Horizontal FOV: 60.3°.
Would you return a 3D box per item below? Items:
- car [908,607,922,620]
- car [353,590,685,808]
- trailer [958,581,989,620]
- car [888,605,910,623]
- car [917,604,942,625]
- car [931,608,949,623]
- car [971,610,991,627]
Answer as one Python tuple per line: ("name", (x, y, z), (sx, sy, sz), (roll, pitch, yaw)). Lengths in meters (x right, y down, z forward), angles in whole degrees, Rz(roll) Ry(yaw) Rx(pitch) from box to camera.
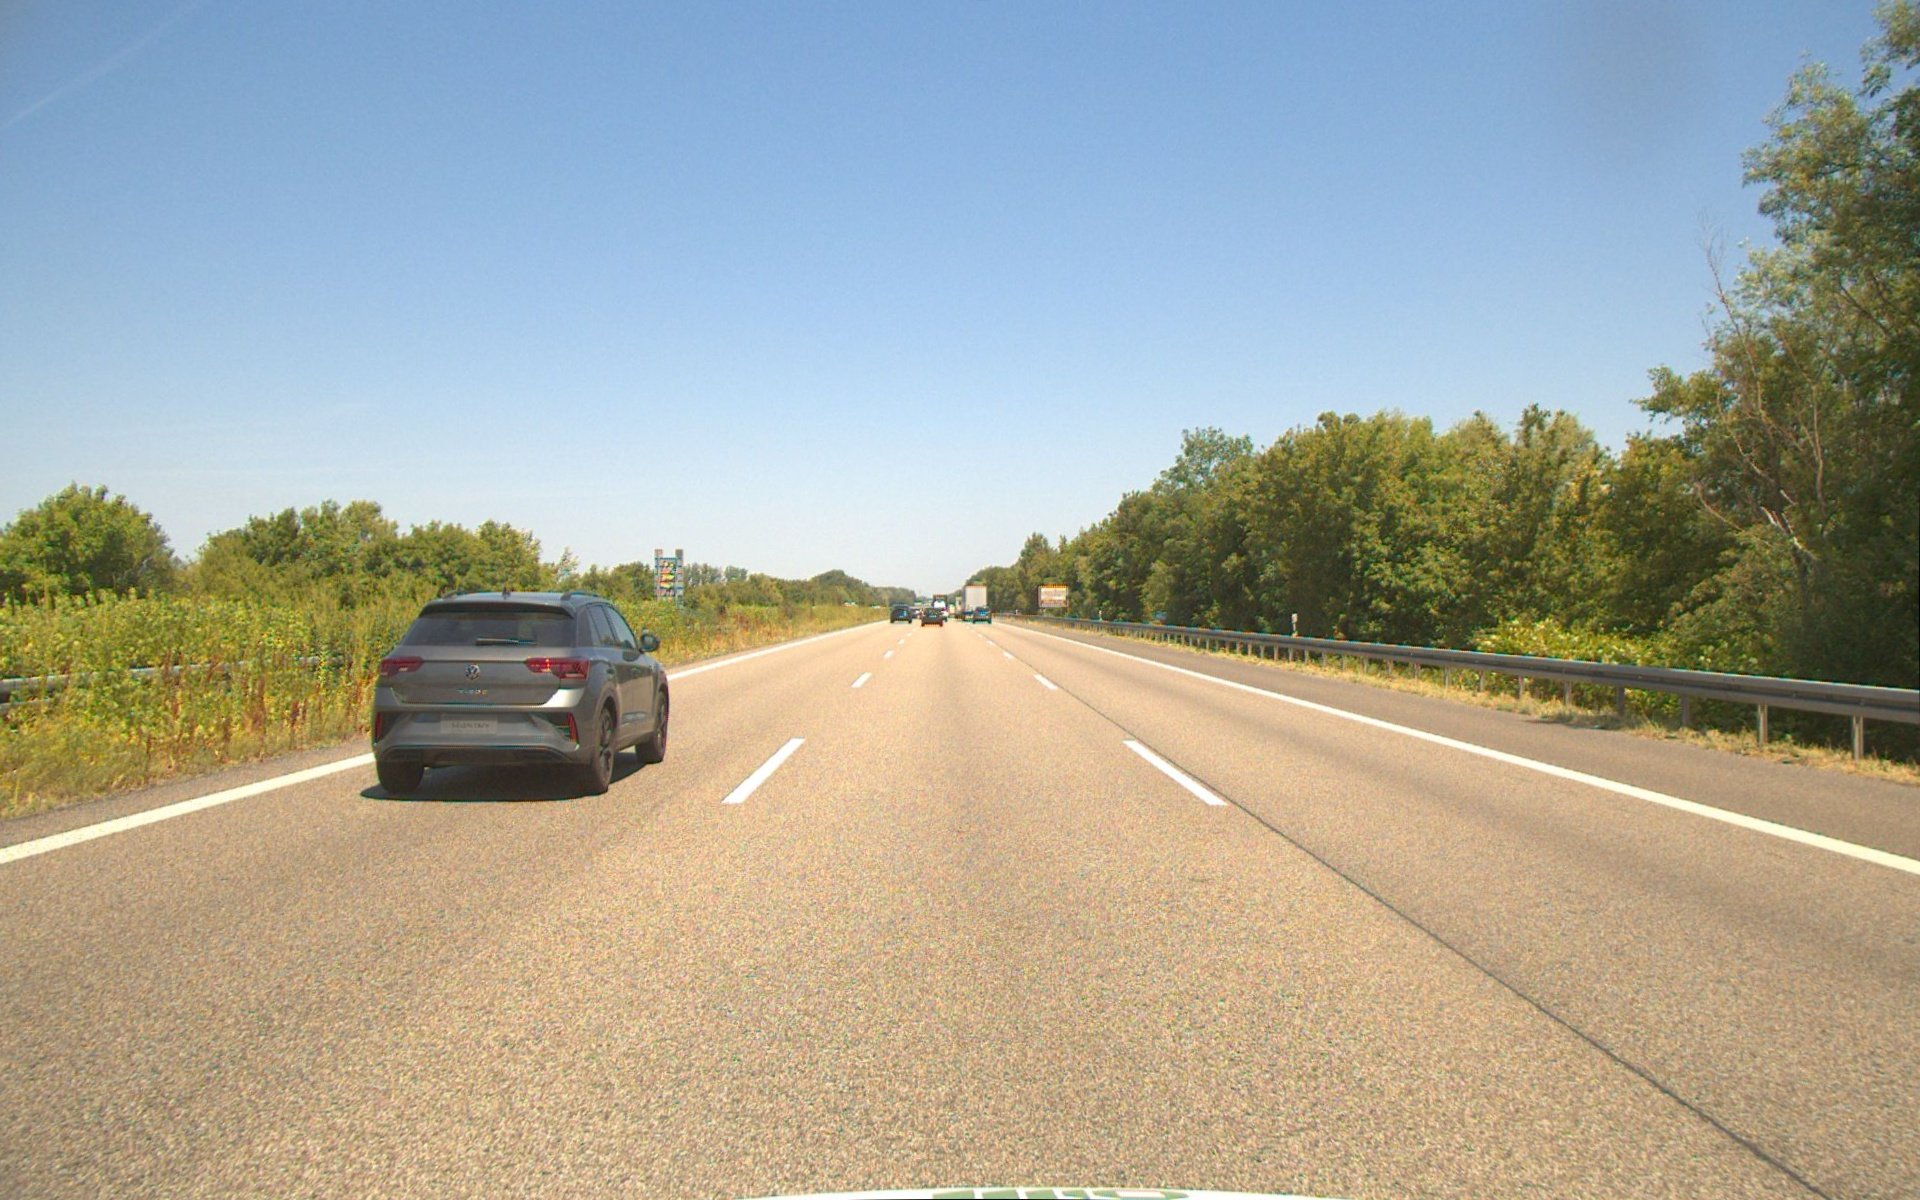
("car", (-5.936, 1.774, 218.505), (1.869, 1.558, 4.284), (1, 0, -1))
("car", (-3.554, 0.721, 14.151), (1.723, 1.558, 4.284), (1, 0, -1))
("trailer", (1.544, 0.151, 194.493), (3.365, 4.255, 13.629), (1, -1, -1))
("car", (-5.534, 1.285, 151.336), (1.869, 1.558, 4.284), (1, 0, -1))
("car", (-2.310, 1.119, 127.105), (1.862, 1.558, 4.083), (1, 0, -1))
("car", (-2.089, 1.612, 175.574), (1.862, 1.558, 4.083), (1, 0, -1))
("car", (2.057, 1.779, 161.731), (1.807, 1.657, 4.134), (0, -1, -1))
